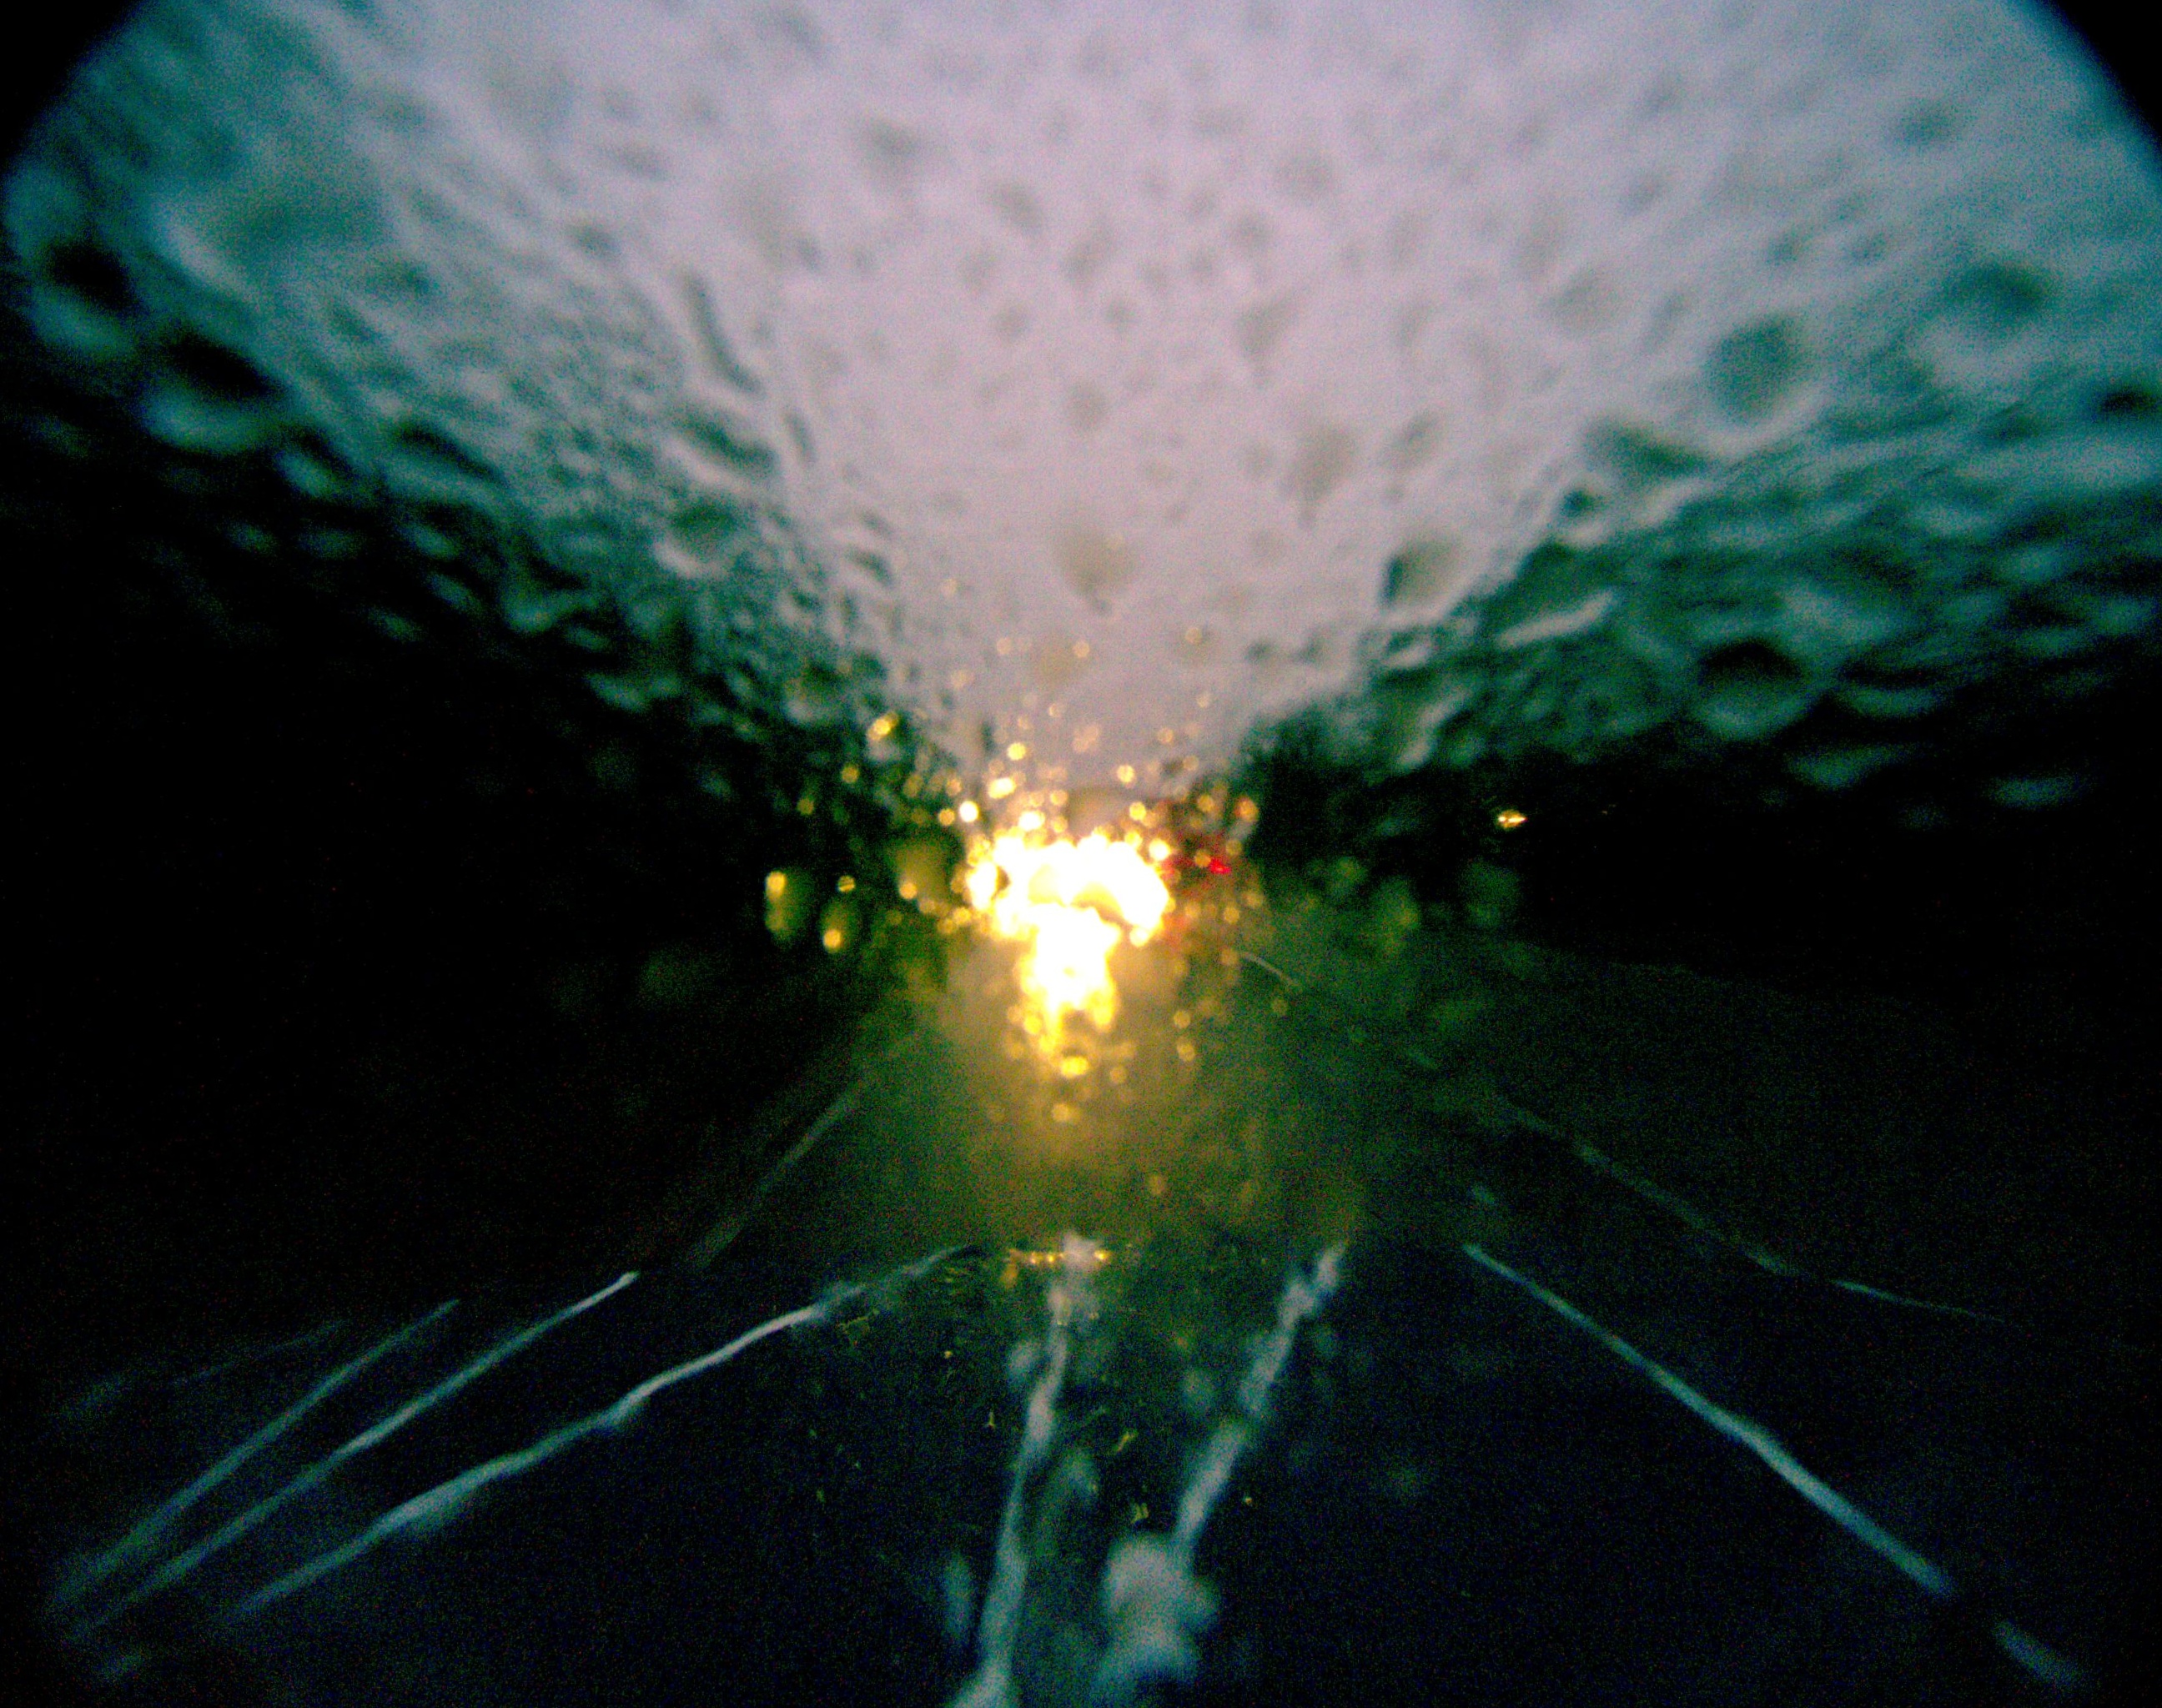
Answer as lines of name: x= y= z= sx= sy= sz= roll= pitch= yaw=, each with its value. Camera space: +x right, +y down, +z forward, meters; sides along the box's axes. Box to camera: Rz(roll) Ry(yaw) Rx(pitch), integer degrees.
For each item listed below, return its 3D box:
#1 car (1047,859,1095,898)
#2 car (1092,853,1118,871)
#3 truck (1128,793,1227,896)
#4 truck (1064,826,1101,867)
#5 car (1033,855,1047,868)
car: x=-0.402 y=0.973 z=32.211 sx=1.850 sy=1.429 sz=4.244 roll=-3 pitch=0 yaw=0
car: x=2.103 y=0.709 z=67.063 sx=1.851 sy=1.452 sz=4.243 roll=-3 pitch=0 yaw=-4
truck: x=3.748 y=-0.382 z=31.977 sx=2.655 sy=3.575 sz=9.840 roll=-2 pitch=1 yaw=-1
truck: x=0.049 y=-0.800 z=90.667 sx=3.357 sy=4.401 sz=11.164 roll=-4 pitch=0 yaw=-4
car: x=-5.777 y=1.062 z=107.401 sx=1.702 sy=1.721 sz=3.999 roll=-4 pitch=0 yaw=-1
